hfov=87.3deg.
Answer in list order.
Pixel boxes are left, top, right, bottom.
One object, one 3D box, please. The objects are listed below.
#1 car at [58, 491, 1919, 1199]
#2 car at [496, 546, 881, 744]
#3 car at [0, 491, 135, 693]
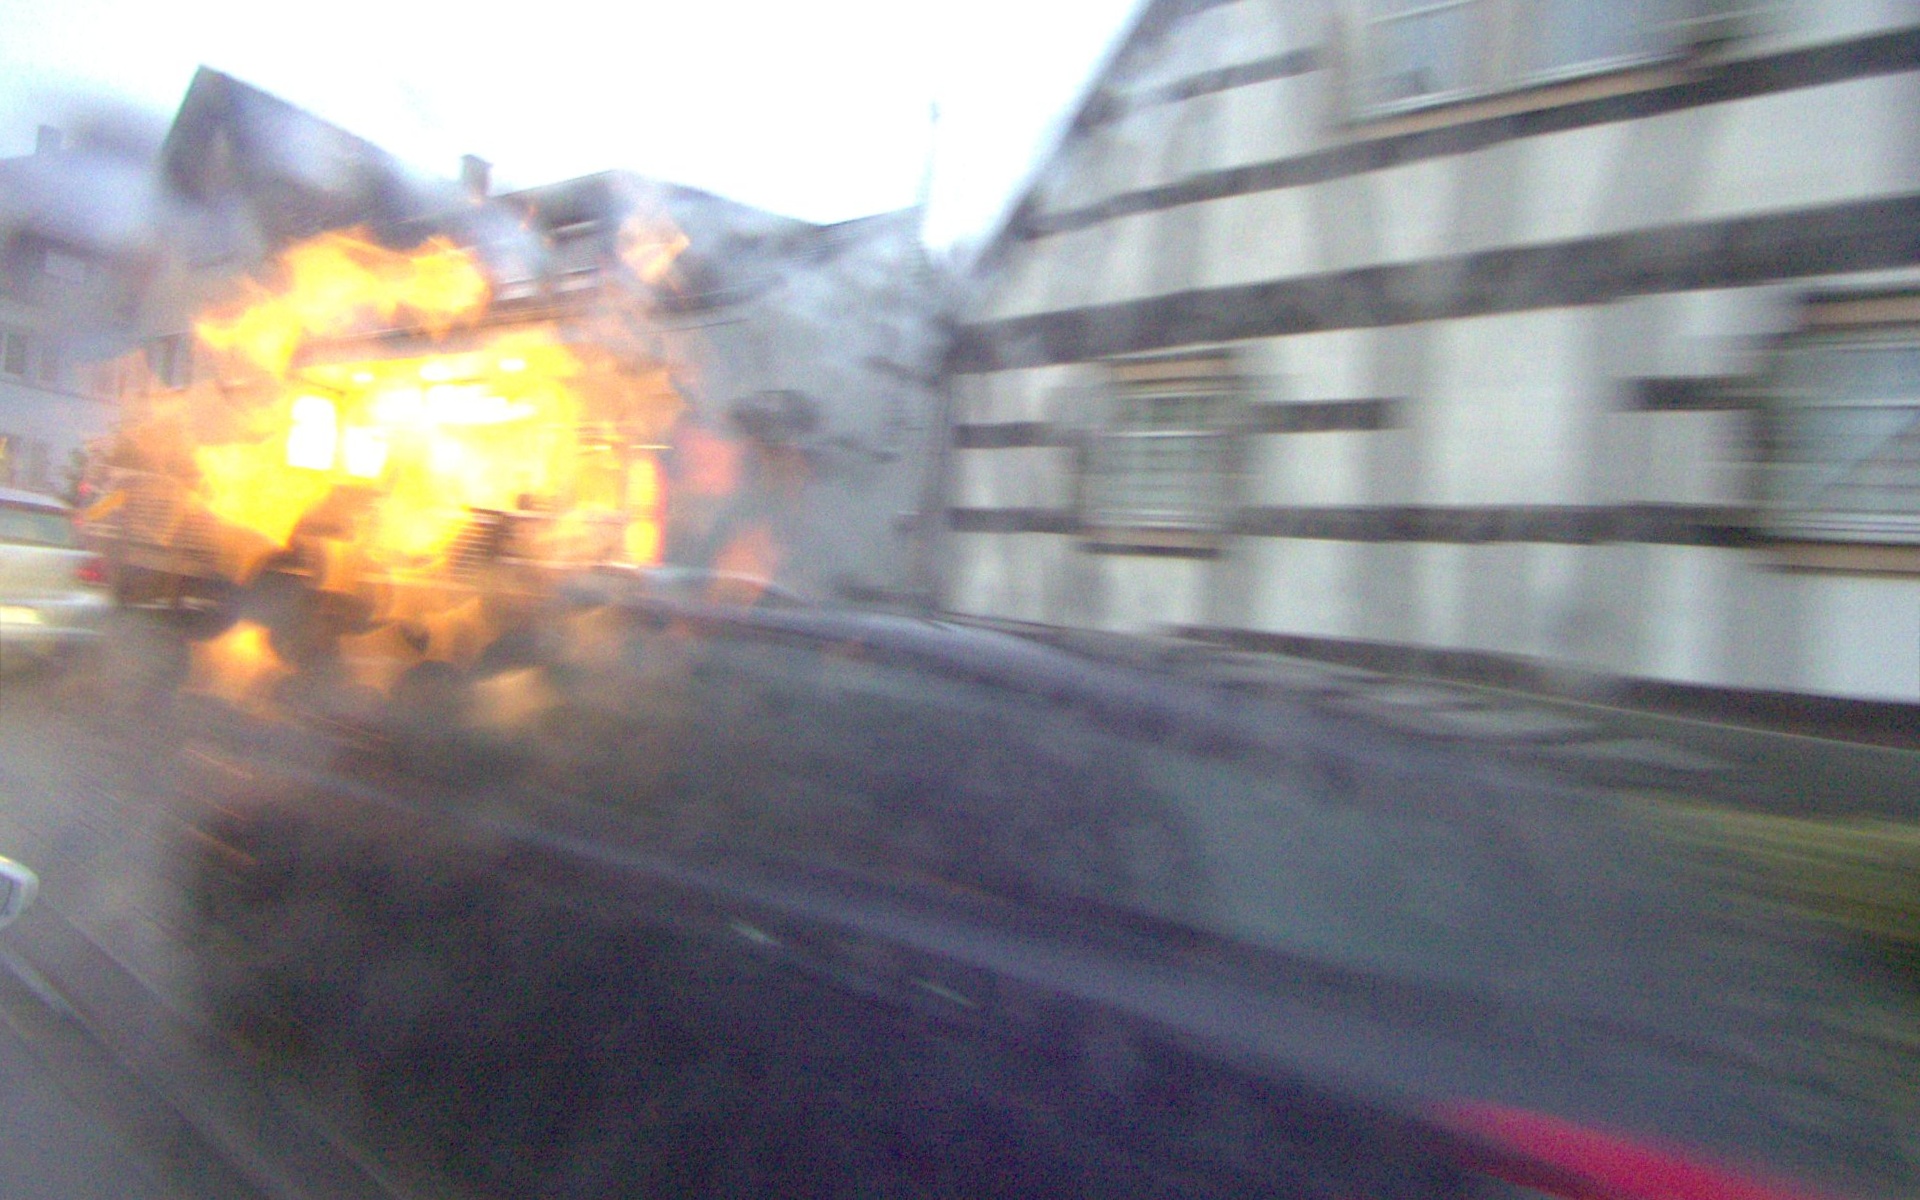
[{"bbox_3d":[-0.508,0.676,2.795,4.316,1.546,1.765,7,2,31],"label":"car"},{"bbox_3d":[-2.445,0.373,9.723,1.658,1.460,3.290,6,2,31],"label":"car"},{"bbox_3d":[-8.607,-0.220,8.418,3.739,1.460,1.626,7,2,35],"label":"car"}]
